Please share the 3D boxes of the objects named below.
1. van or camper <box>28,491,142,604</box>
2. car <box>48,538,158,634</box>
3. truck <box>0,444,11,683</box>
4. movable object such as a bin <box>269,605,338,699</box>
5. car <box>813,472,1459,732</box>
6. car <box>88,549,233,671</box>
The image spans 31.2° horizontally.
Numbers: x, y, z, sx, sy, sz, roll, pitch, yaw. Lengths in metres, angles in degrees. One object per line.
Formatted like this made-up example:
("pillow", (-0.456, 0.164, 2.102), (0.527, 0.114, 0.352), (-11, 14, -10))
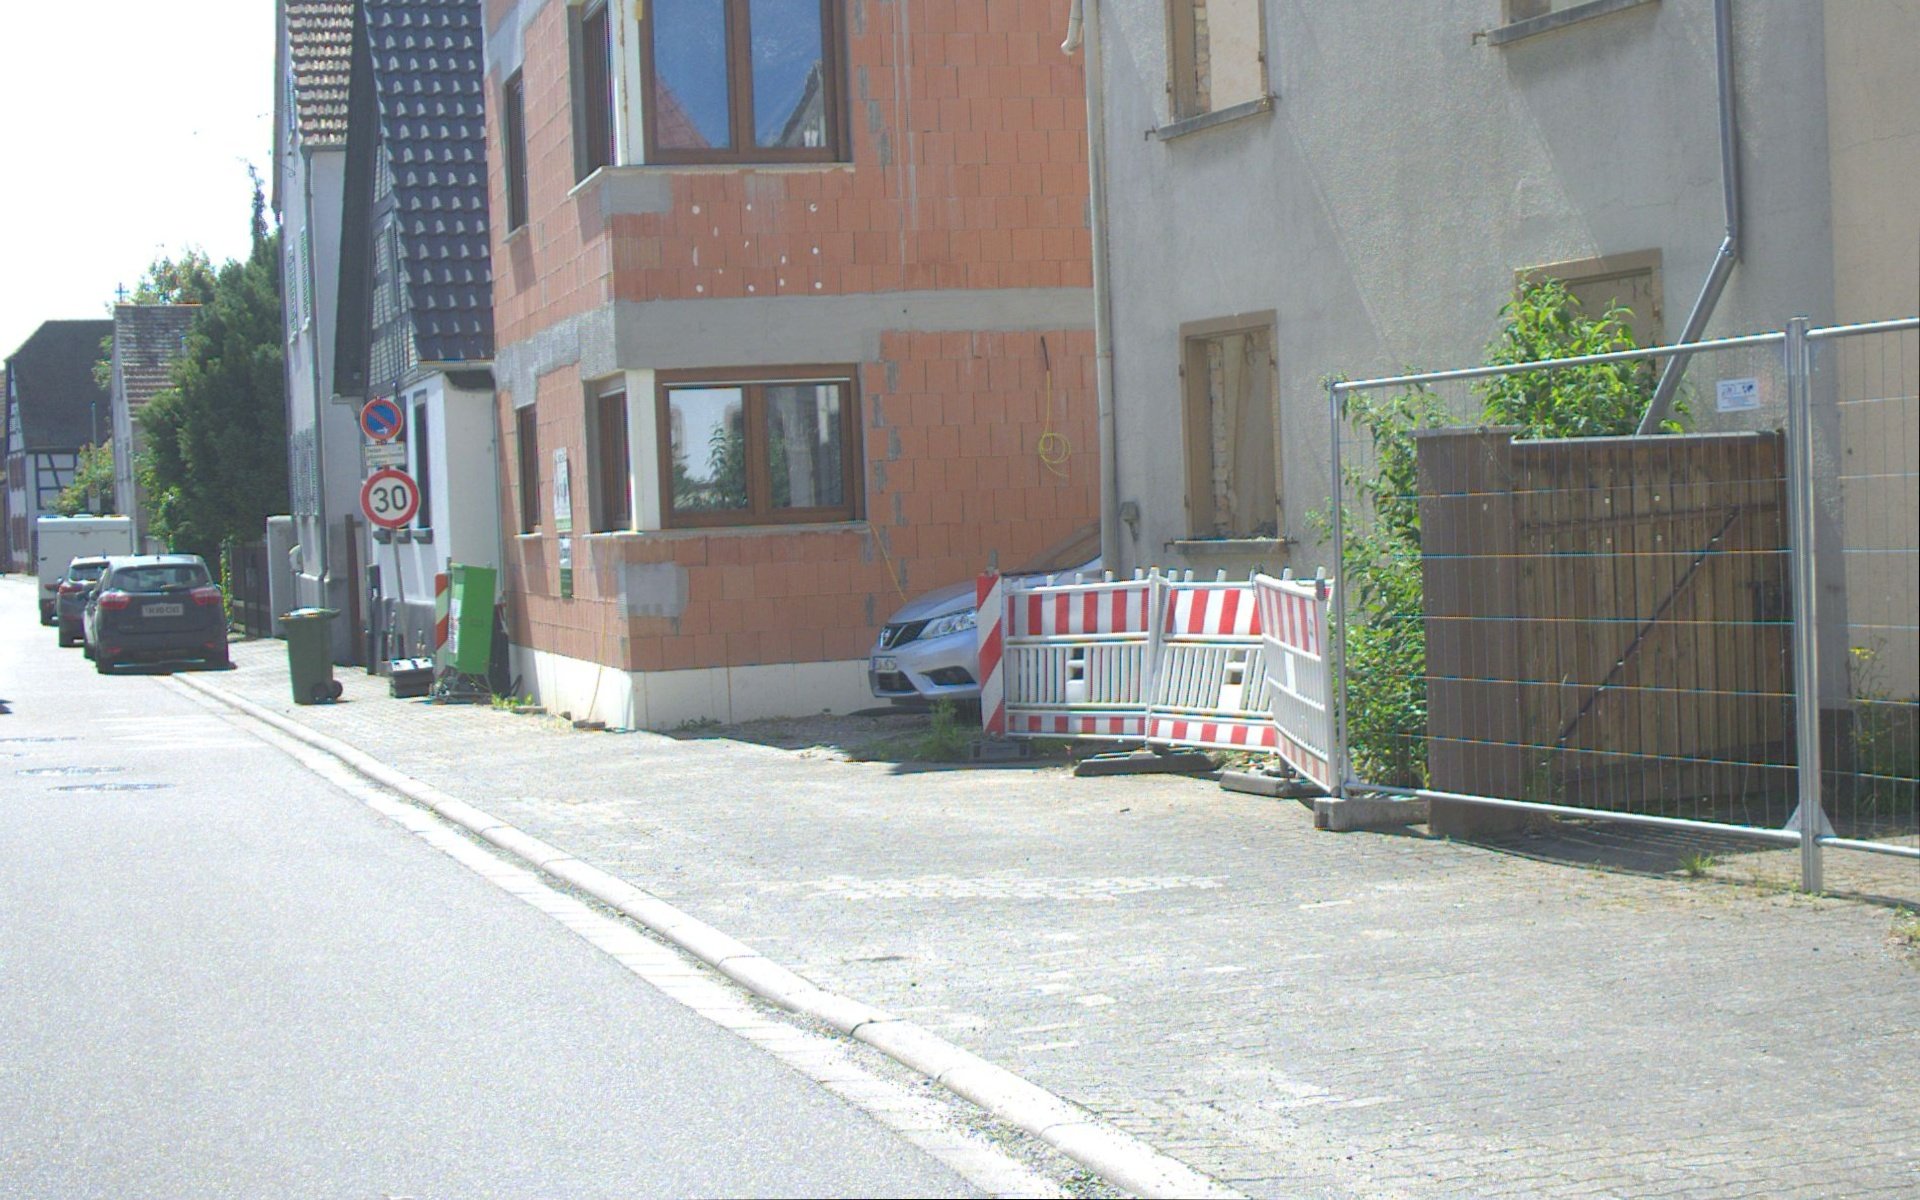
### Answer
("van or camper", (-22.483, -1.360, 88.214), (2.521, 2.687, 4.557), (-3, 2, -16))
("car", (-16.196, -0.297, 65.103), (1.793, 1.625, 4.362), (-3, 2, -12))
("truck", (-11.686, -0.796, 35.679), (2.695, 3.737, 10.872), (-3, 1, -12))
("movable object such as a bin", (-6.667, 0.523, 34.909), (0.538, 0.910, 0.552), (-3, 2, 2))
("car", (1.236, -0.024, 24.363), (4.087, 1.502, 1.871), (-4, 2, -21))
("car", (-11.494, 0.103, 49.238), (1.797, 1.554, 4.633), (-3, 2, -15))
